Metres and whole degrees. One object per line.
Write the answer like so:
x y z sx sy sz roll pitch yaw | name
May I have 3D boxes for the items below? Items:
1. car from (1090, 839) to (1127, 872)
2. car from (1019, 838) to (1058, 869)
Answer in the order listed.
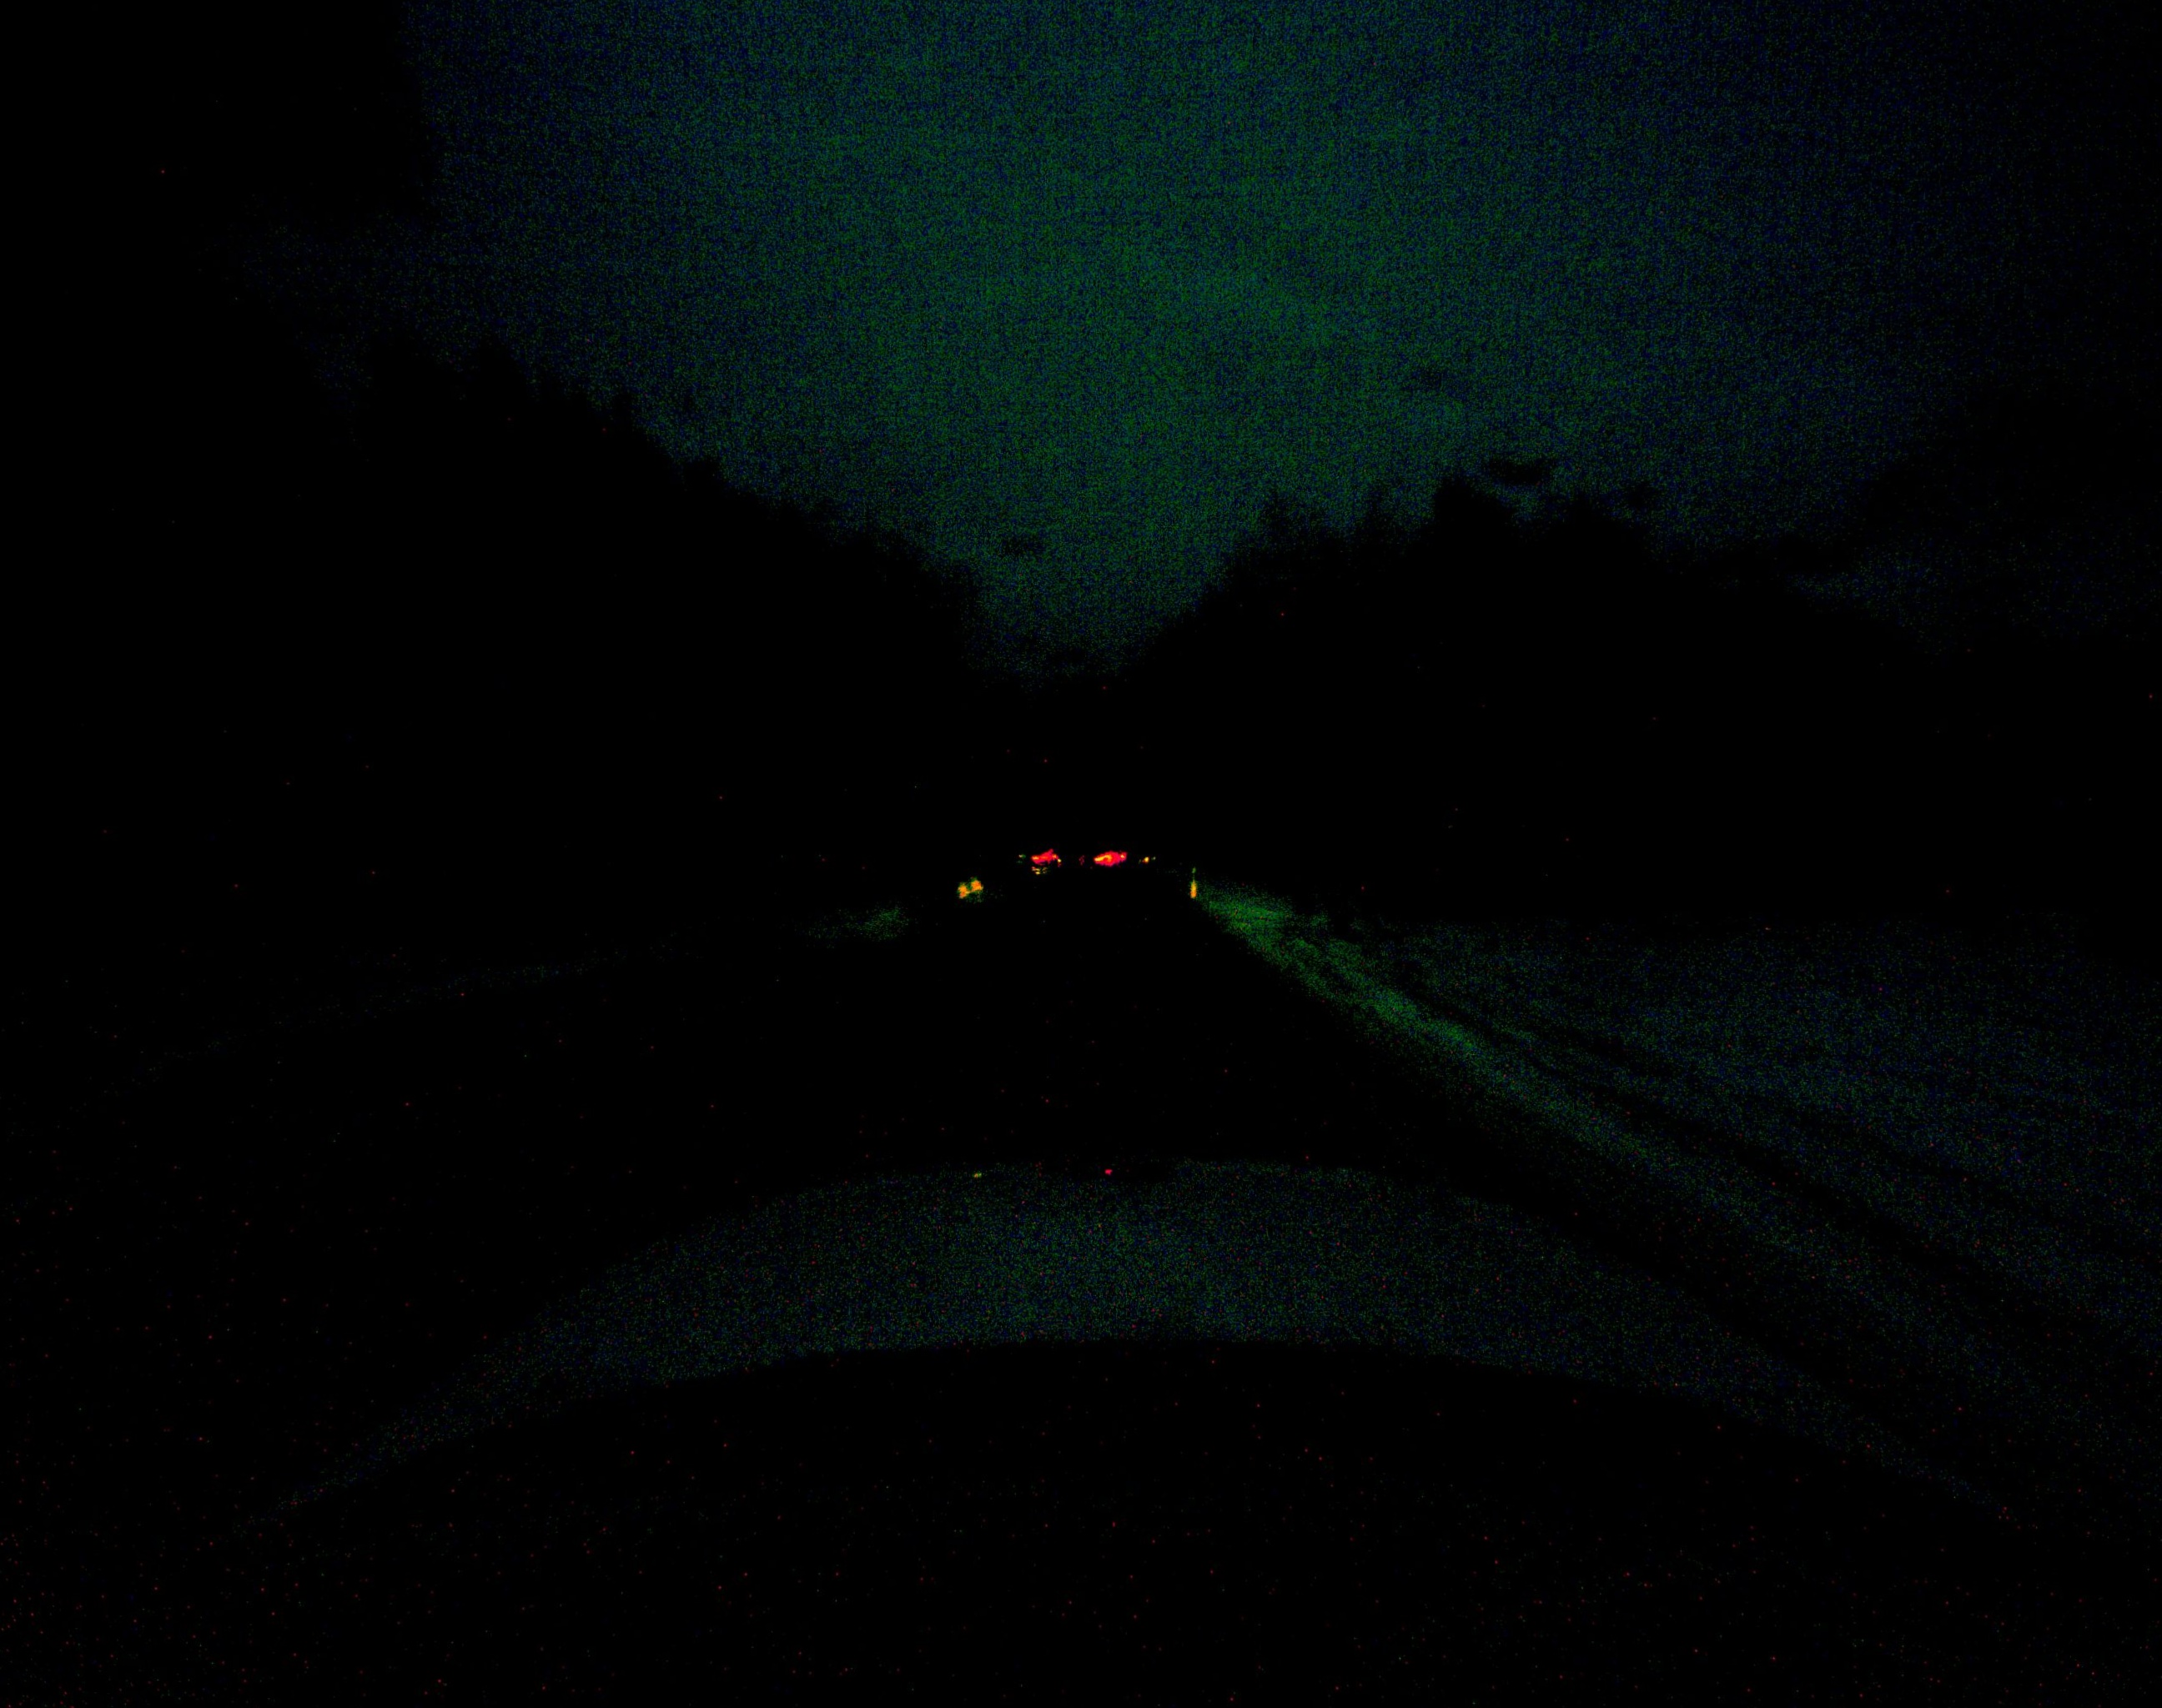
1.832 0.075 55.586 1.990 2.051 3.993 -3 0 -5 | car
-3.904 -0.026 73.985 2.258 2.645 4.976 -3 0 -17 | car
